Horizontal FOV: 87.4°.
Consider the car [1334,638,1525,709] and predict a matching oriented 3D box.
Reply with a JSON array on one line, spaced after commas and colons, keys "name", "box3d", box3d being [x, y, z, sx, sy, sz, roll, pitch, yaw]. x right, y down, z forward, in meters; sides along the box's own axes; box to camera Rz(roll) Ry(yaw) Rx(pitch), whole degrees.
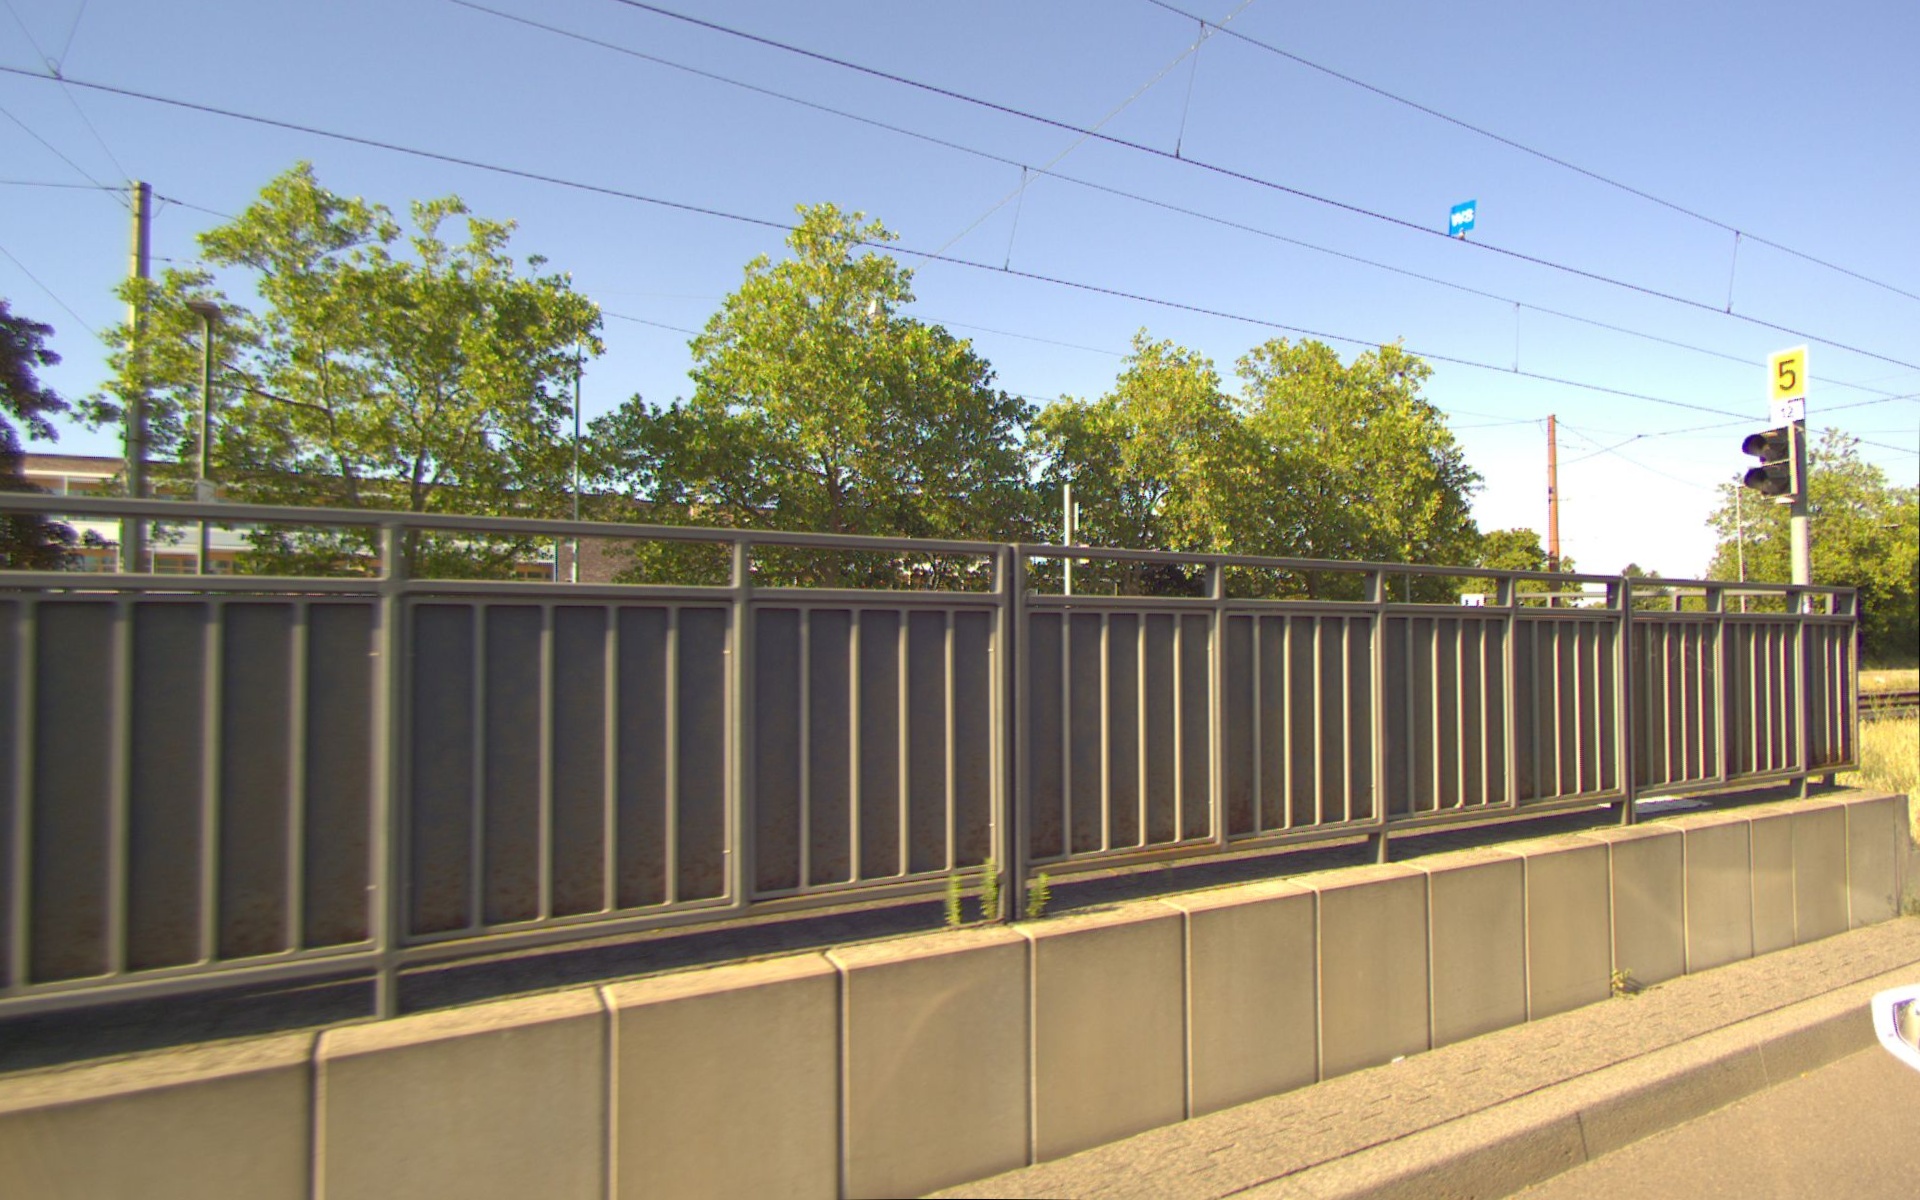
[{"name": "car", "box3d": [11.524, 1.742, 24.623, 4.487, 1.582, 1.986, 1, -2, -28]}]
